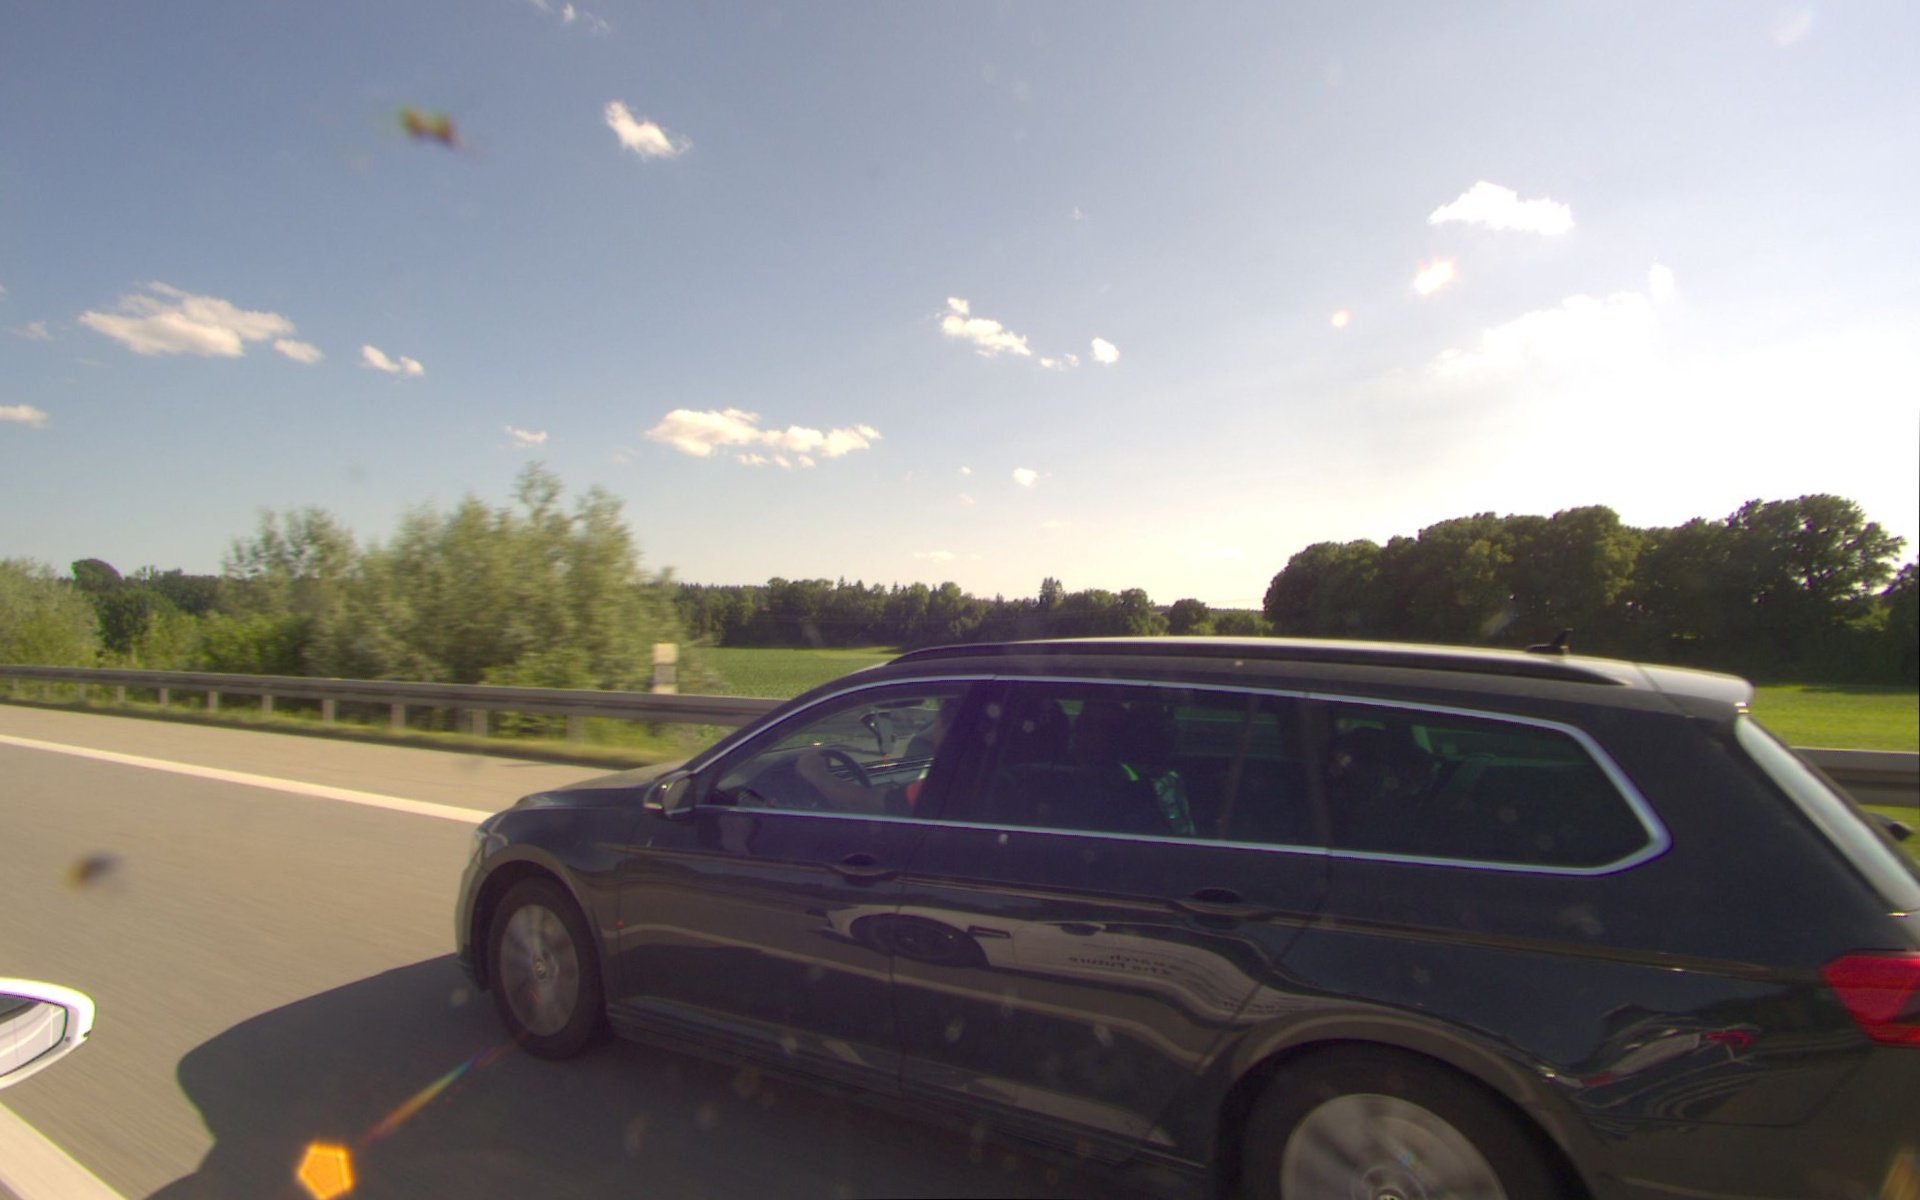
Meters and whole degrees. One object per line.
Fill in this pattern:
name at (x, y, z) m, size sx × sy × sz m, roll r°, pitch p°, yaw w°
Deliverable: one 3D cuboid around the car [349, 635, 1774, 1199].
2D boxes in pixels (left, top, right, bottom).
car at (-0.091, 0.848, 3.511) m, size 4.349 × 1.418 × 1.716 m, roll -1°, pitch -1°, yaw 31°
